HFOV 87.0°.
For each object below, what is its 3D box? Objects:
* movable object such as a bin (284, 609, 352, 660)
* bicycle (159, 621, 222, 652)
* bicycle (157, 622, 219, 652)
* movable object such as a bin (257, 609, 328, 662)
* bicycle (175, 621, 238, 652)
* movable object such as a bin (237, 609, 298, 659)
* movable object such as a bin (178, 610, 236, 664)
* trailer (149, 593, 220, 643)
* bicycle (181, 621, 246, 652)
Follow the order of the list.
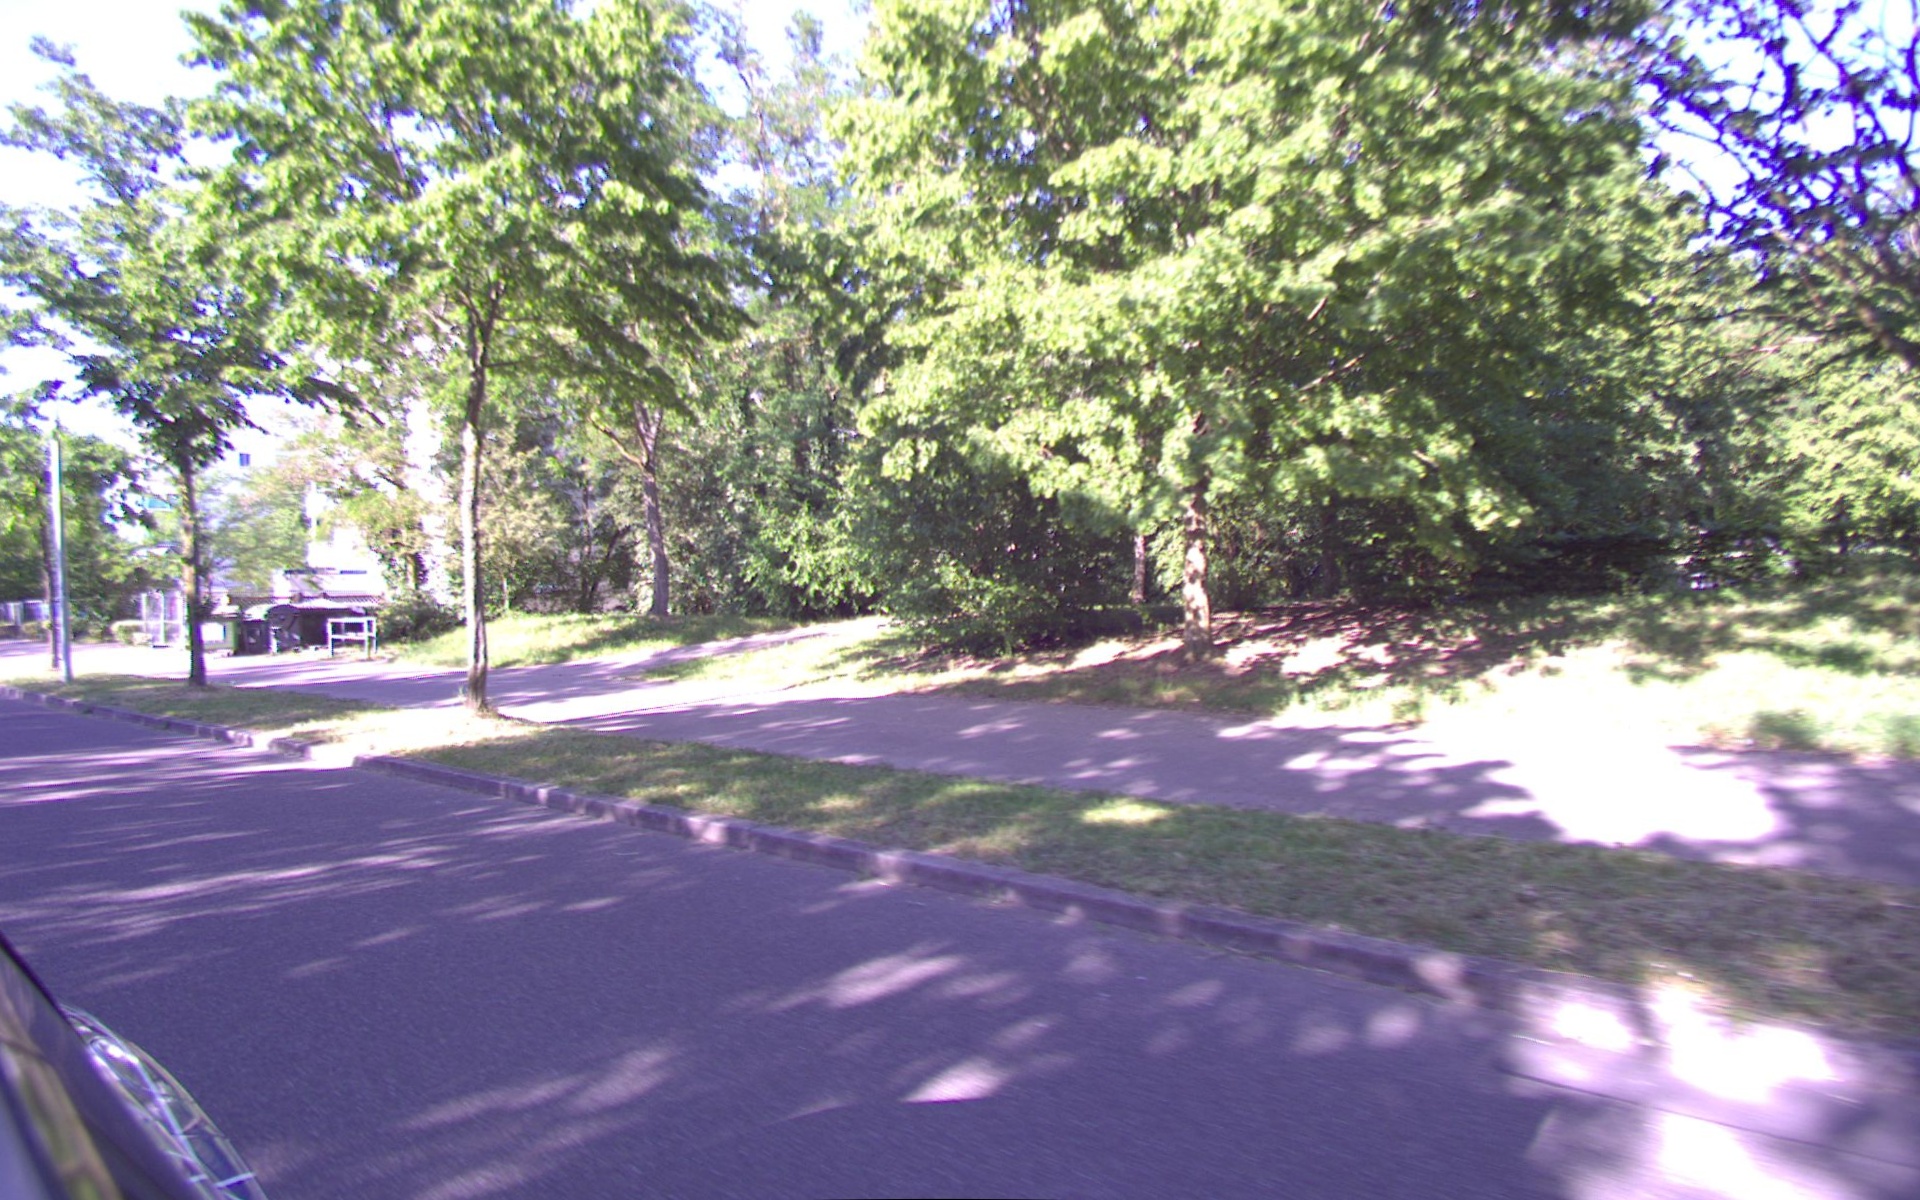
[{"bbox_3d":[-19.031,1.013,30.016,1.257,1.446,1.143,-1,0,6],"label":"movable object such as a bin"},{"bbox_3d":[-28.341,1.335,37.304,0.398,1.034,1.844,-1,1,26],"label":"bicycle"},{"bbox_3d":[-28.980,1.365,38.010,0.398,1.034,1.858,-1,1,26],"label":"bicycle"},{"bbox_3d":[-18.981,0.991,28.803,1.257,1.446,1.143,-1,0,6],"label":"movable object such as a bin"},{"bbox_3d":[-27.193,1.318,36.553,0.398,1.034,1.827,-1,1,26],"label":"bicycle"},{"bbox_3d":[-21.043,1.026,30.785,1.251,1.446,1.330,-1,0,-23],"label":"movable object such as a bin"},{"bbox_3d":[-21.324,1.030,28.686,1.252,1.446,1.184,-1,0,-34],"label":"movable object such as a bin"},{"bbox_3d":[-36.033,0.845,46.979,4.346,2.136,1.844,-1,2,43],"label":"trailer"},{"bbox_3d":[-26.775,1.300,36.330,0.398,1.034,1.904,-1,1,26],"label":"bicycle"}]
